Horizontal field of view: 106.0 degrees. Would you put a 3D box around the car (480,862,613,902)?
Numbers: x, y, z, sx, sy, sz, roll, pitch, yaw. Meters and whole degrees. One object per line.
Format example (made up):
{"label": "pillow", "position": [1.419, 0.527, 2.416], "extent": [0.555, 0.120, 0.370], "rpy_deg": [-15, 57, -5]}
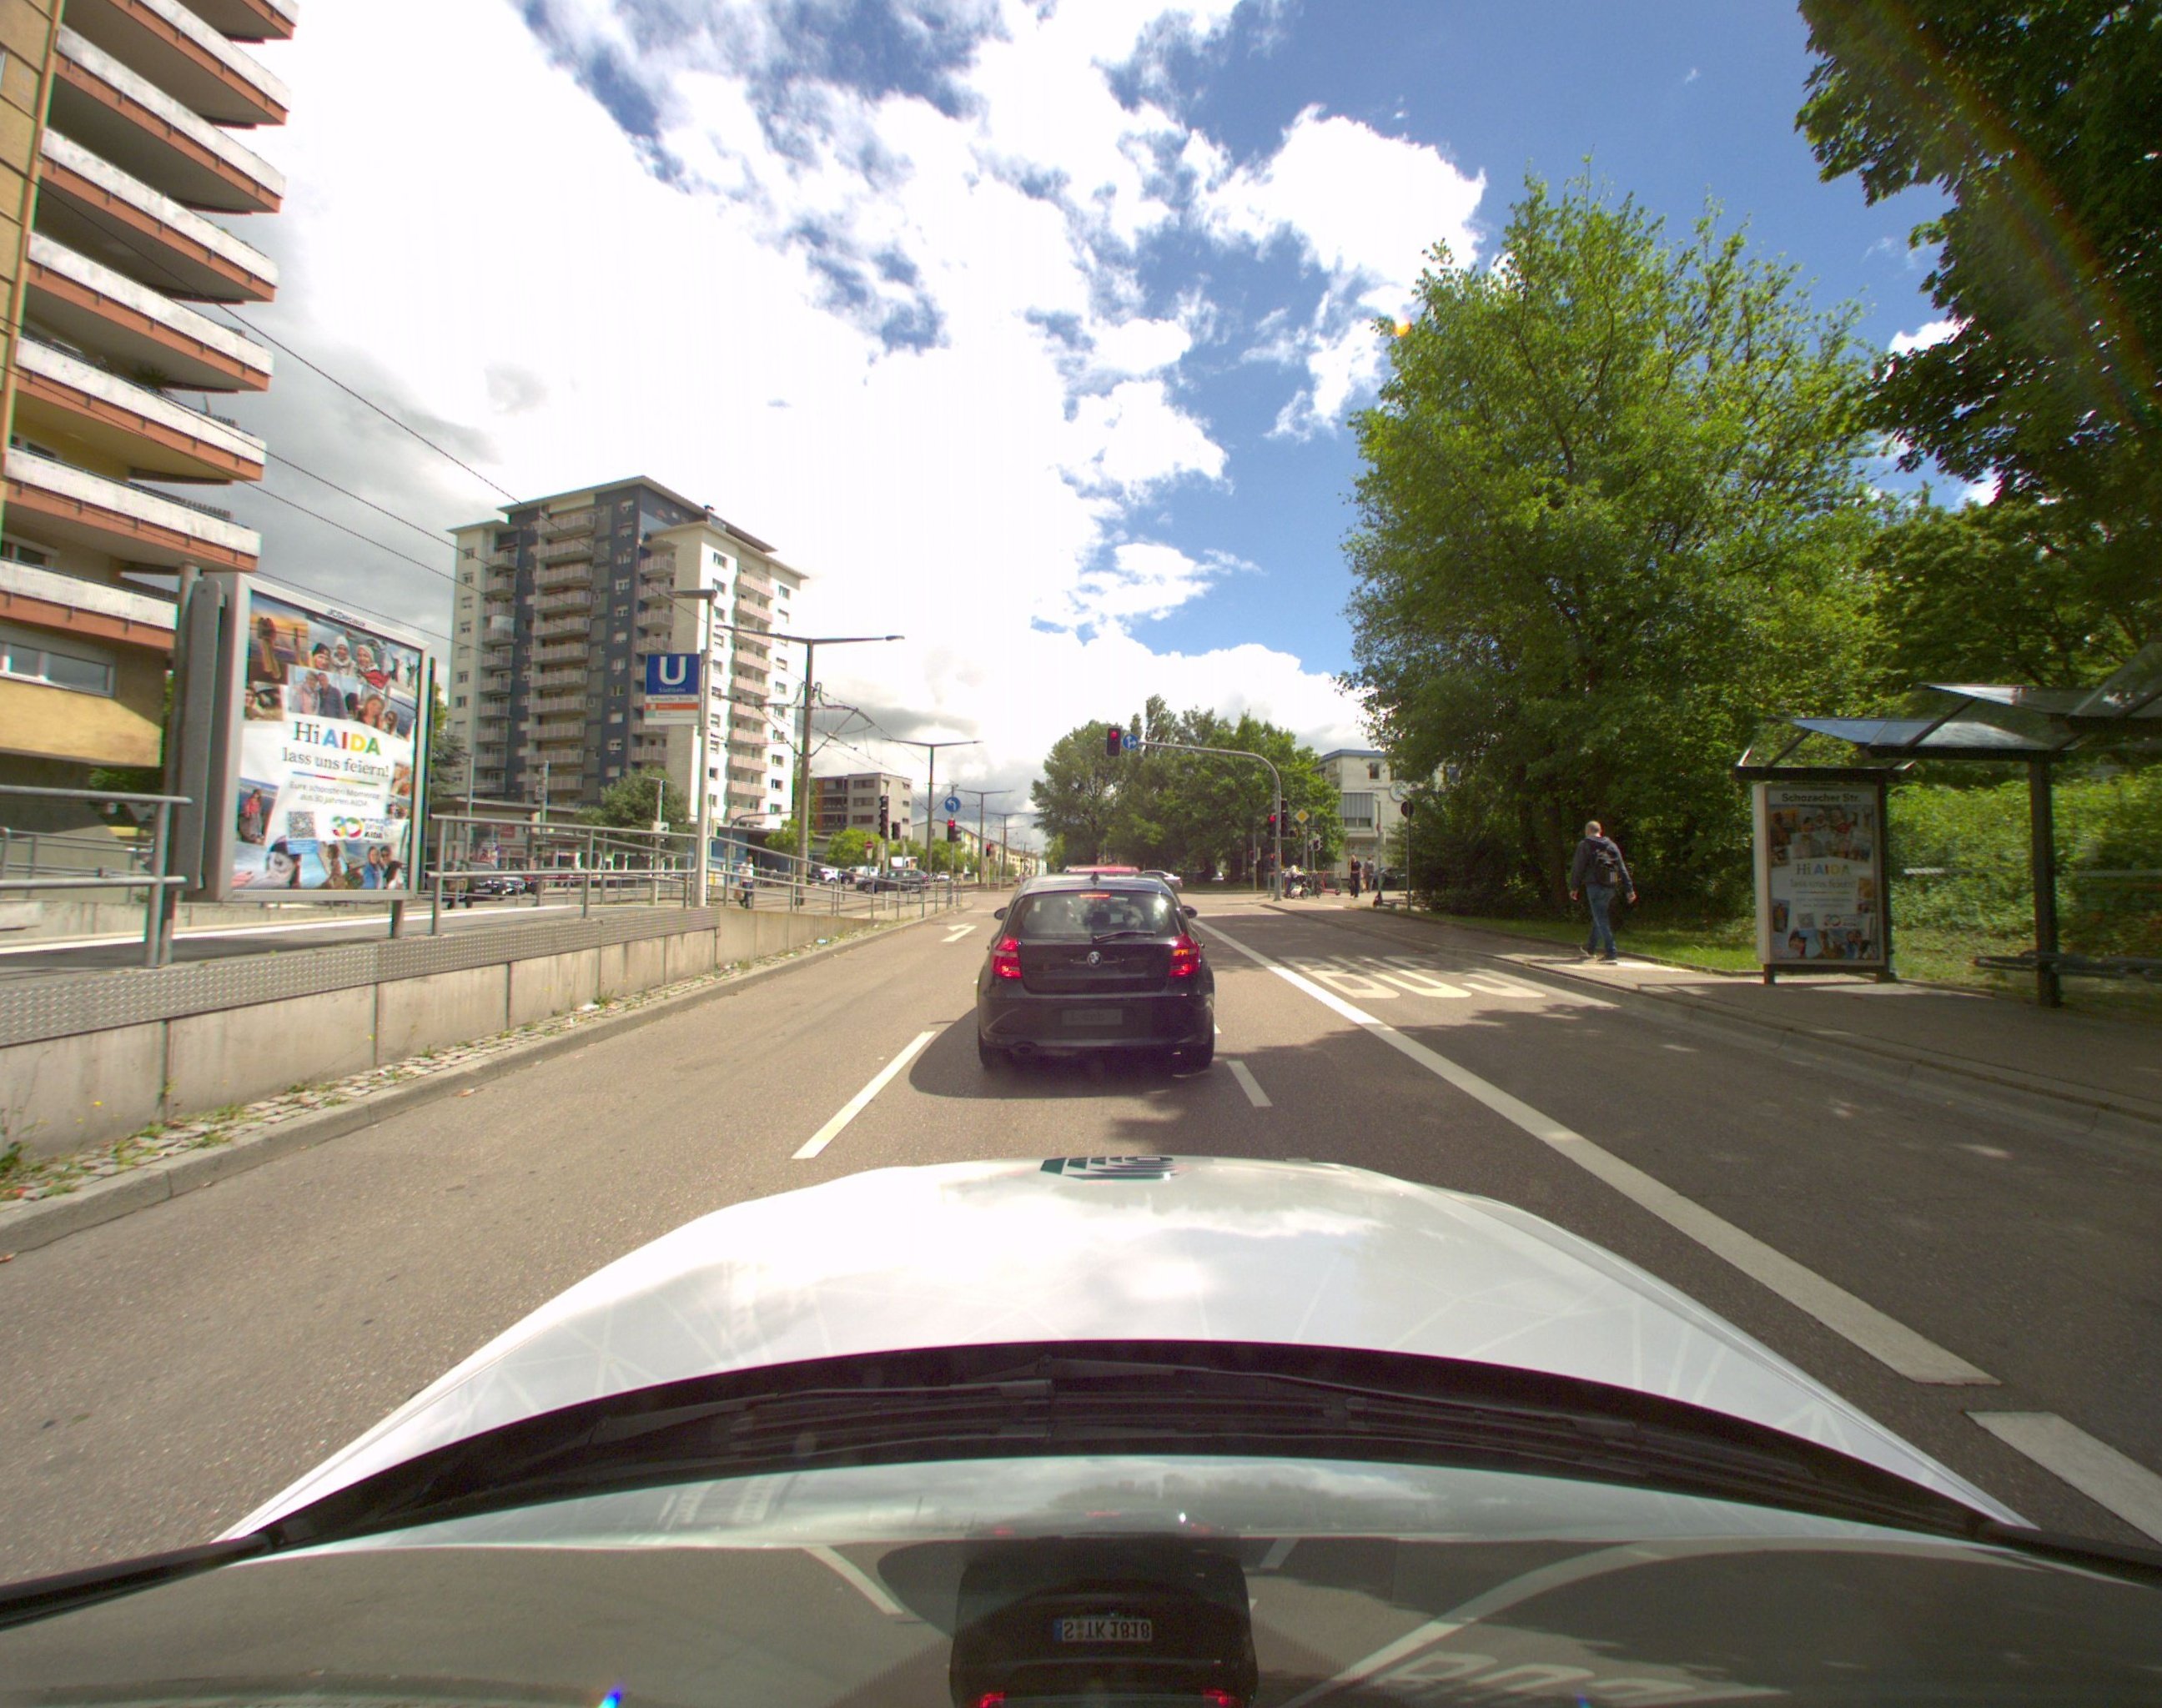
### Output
{"label": "car", "position": [-23.467, 1.199, 35.905], "extent": [4.470, 1.693, 1.997], "rpy_deg": [0, -1, -4]}

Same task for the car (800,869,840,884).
{"label": "car", "position": [-26.146, 2.242, 81.667], "extent": [3.600, 1.462, 1.612], "rpy_deg": [-1, -1, -7]}

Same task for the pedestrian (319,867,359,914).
{"label": "pedestrian", "position": [-21.993, 1.061, 24.160], "extent": [0.691, 1.343, 0.852], "rpy_deg": [0, -1, -29]}

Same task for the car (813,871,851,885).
{"label": "car", "position": [-26.214, 2.510, 85.811], "extent": [3.600, 1.462, 1.613], "rpy_deg": [-1, -1, -7]}

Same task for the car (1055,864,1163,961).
{"label": "car", "position": [0.493, 0.886, 13.858], "extent": [1.588, 1.419, 3.519], "rpy_deg": [0, 0, 3]}

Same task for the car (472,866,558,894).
{"label": "car", "position": [-31.839, 1.452, 45.881], "extent": [3.600, 1.462, 1.613], "rpy_deg": [-1, -1, -7]}

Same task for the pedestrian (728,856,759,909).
{"label": "pedestrian", "position": [-10.964, 0.921, 26.444], "extent": [0.693, 1.697, 0.850], "rpy_deg": [0, -1, -42]}

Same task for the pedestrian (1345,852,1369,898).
{"label": "pedestrian", "position": [11.061, 0.856, 32.628], "extent": [0.752, 1.790, 0.572], "rpy_deg": [3, -1, 27]}

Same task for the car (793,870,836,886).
{"label": "car", "position": [-25.754, 2.276, 78.805], "extent": [3.600, 1.462, 1.613], "rpy_deg": [-1, -1, -7]}

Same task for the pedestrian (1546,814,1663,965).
{"label": "pedestrian", "position": [6.979, 0.449, 10.925], "extent": [0.798, 1.895, 1.271], "rpy_deg": [1, -1, 3]}

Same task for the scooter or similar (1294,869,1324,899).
{"label": "scooter or similar", "position": [8.766, 1.137, 31.244], "extent": [0.405, 1.051, 1.797], "rpy_deg": [-1, 0, 39]}

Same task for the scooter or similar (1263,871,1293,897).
{"label": "scooter or similar", "position": [7.714, 1.173, 31.885], "extent": [1.121, 0.957, 0.299], "rpy_deg": [-1, -1, -14]}

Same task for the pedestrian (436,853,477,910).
{"label": "pedestrian", "position": [-18.371, 0.792, 23.957], "extent": [0.698, 1.633, 0.638], "rpy_deg": [-1, -1, 2]}

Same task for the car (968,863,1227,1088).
{"label": "car", "position": [0.213, 0.796, 6.970], "extent": [1.647, 1.419, 3.520], "rpy_deg": [-1, 0, 4]}

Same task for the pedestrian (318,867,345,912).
{"label": "pedestrian", "position": [-23.060, 1.084, 25.065], "extent": [0.660, 1.343, 0.558], "rpy_deg": [-1, -1, 44]}

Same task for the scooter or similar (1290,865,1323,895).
{"label": "scooter or similar", "position": [9.136, 1.051, 33.002], "extent": [1.290, 1.189, 0.383], "rpy_deg": [-1, -1, -14]}

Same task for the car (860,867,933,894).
{"label": "car", "position": [-10.701, 1.514, 47.374], "extent": [3.983, 1.526, 1.671], "rpy_deg": [0, -1, -7]}

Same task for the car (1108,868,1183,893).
{"label": "car", "position": [3.902, 1.591, 49.418], "extent": [4.318, 1.394, 1.709], "rpy_deg": [0, -1, -7]}

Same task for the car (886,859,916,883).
{"label": "car", "position": [-20.377, 1.860, 92.522], "extent": [2.132, 2.640, 5.358], "rpy_deg": [0, -1, 0]}

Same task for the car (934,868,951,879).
{"label": "car", "position": [-21.048, 3.016, 123.733], "extent": [1.960, 1.596, 3.999], "rpy_deg": [0, -1, -1]}

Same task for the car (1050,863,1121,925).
{"label": "car", "position": [0.114, 0.966, 20.882], "extent": [1.649, 1.419, 3.516], "rpy_deg": [0, 0, 0]}

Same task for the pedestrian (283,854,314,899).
{"label": "pedestrian", "position": [-28.087, 0.792, 29.234], "extent": [0.779, 1.583, 0.602], "rpy_deg": [0, -1, -42]}

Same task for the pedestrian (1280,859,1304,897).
{"label": "pedestrian", "position": [8.108, 0.910, 31.295], "extent": [0.858, 1.443, 0.802], "rpy_deg": [-1, -1, 15]}

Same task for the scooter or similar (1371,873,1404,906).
{"label": "scooter or similar", "position": [10.733, 1.239, 28.542], "extent": [1.153, 1.099, 0.329], "rpy_deg": [0, -1, -22]}

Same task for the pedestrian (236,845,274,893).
{"label": "pedestrian", "position": [-27.623, 0.498, 27.259], "extent": [0.625, 1.578, 0.853], "rpy_deg": [0, -1, -26]}

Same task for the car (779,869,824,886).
{"label": "car", "position": [-25.541, 2.099, 74.415], "extent": [3.600, 1.462, 1.613], "rpy_deg": [-1, -1, -7]}

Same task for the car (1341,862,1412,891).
{"label": "car", "position": [17.392, 1.306, 48.067], "extent": [3.578, 1.601, 1.705], "rpy_deg": [0, -1, -11]}

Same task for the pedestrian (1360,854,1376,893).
{"label": "pedestrian", "position": [13.271, 0.902, 37.670], "extent": [0.608, 1.790, 0.571], "rpy_deg": [3, -1, 20]}

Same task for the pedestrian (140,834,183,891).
{"label": "pedestrian", "position": [-28.002, 0.261, 24.807], "extent": [0.816, 1.706, 0.686], "rpy_deg": [-1, -1, 28]}

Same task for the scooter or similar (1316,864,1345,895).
{"label": "scooter or similar", "position": [10.372, 1.059, 33.859], "extent": [1.107, 1.258, 0.331], "rpy_deg": [-1, -1, -10]}
